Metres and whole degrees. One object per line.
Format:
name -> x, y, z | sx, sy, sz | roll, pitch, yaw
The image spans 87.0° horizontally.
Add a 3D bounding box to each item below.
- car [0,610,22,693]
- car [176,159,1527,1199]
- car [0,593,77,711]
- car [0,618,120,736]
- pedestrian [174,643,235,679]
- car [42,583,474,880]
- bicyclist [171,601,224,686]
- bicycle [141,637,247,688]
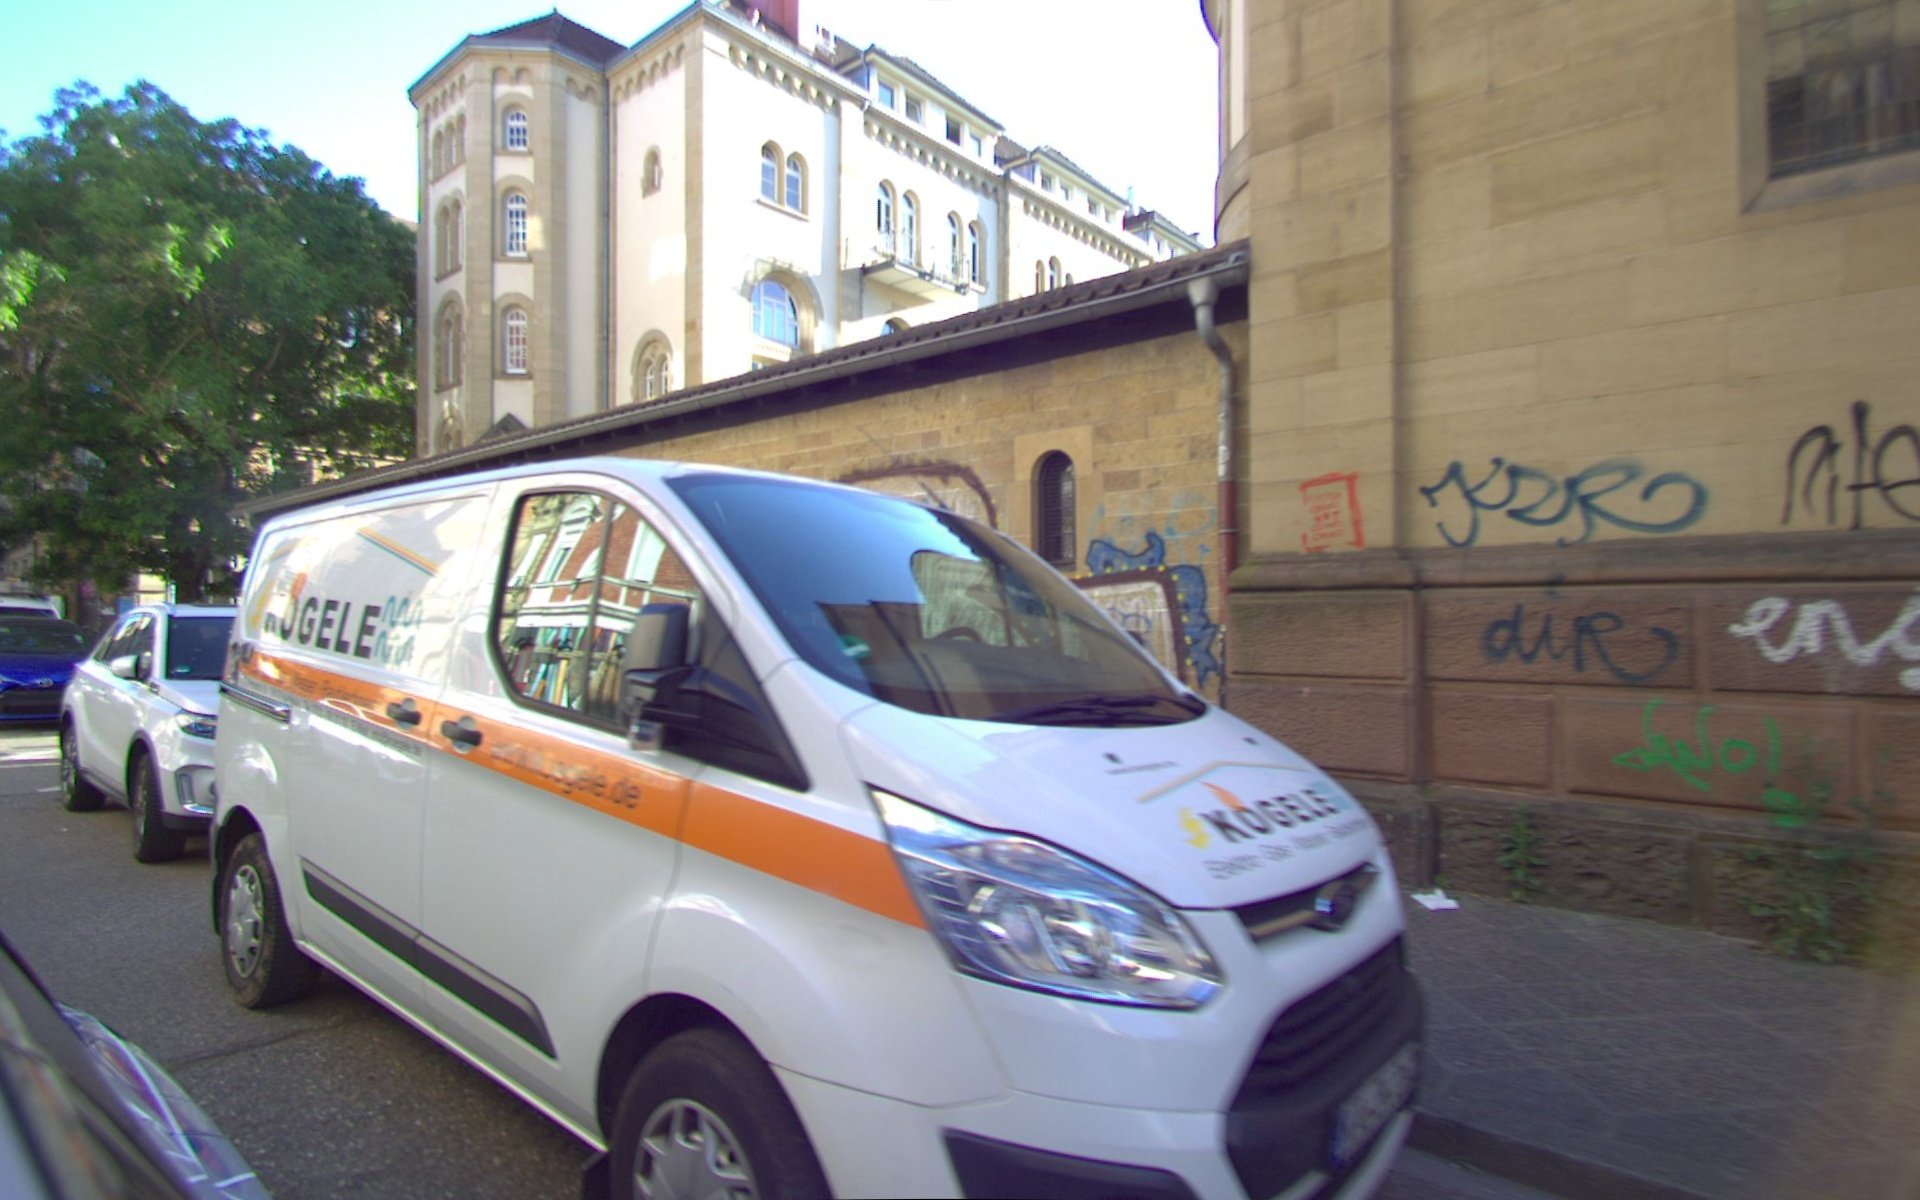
car -> -21.144, 1.051, 21.103 | 4.284, 1.659, 1.723 | -1, -1, 39
car -> -0.881, 0.510, 3.406 | 4.607, 1.972, 1.845 | -1, -3, 41
car -> -16.970, 0.878, 17.664 | 4.464, 1.876, 1.826 | -2, -2, 42
car -> -13.374, 1.018, 14.286 | 3.858, 1.488, 1.670 | -1, -3, 41
pedestrian -> -17.565, 1.414, 23.547 | 0.697, 0.784, 0.914 | -1, -1, 17
car -> -5.261, 0.730, 7.392 | 3.867, 1.598, 1.724 | -1, -1, 41
bicyclist -> -16.470, 0.919, 21.854 | 0.795, 1.736, 0.693 | -4, 2, -41
bicycle -> -16.506, 1.320, 21.824 | 1.740, 0.930, 0.828 | -3, 1, -41
